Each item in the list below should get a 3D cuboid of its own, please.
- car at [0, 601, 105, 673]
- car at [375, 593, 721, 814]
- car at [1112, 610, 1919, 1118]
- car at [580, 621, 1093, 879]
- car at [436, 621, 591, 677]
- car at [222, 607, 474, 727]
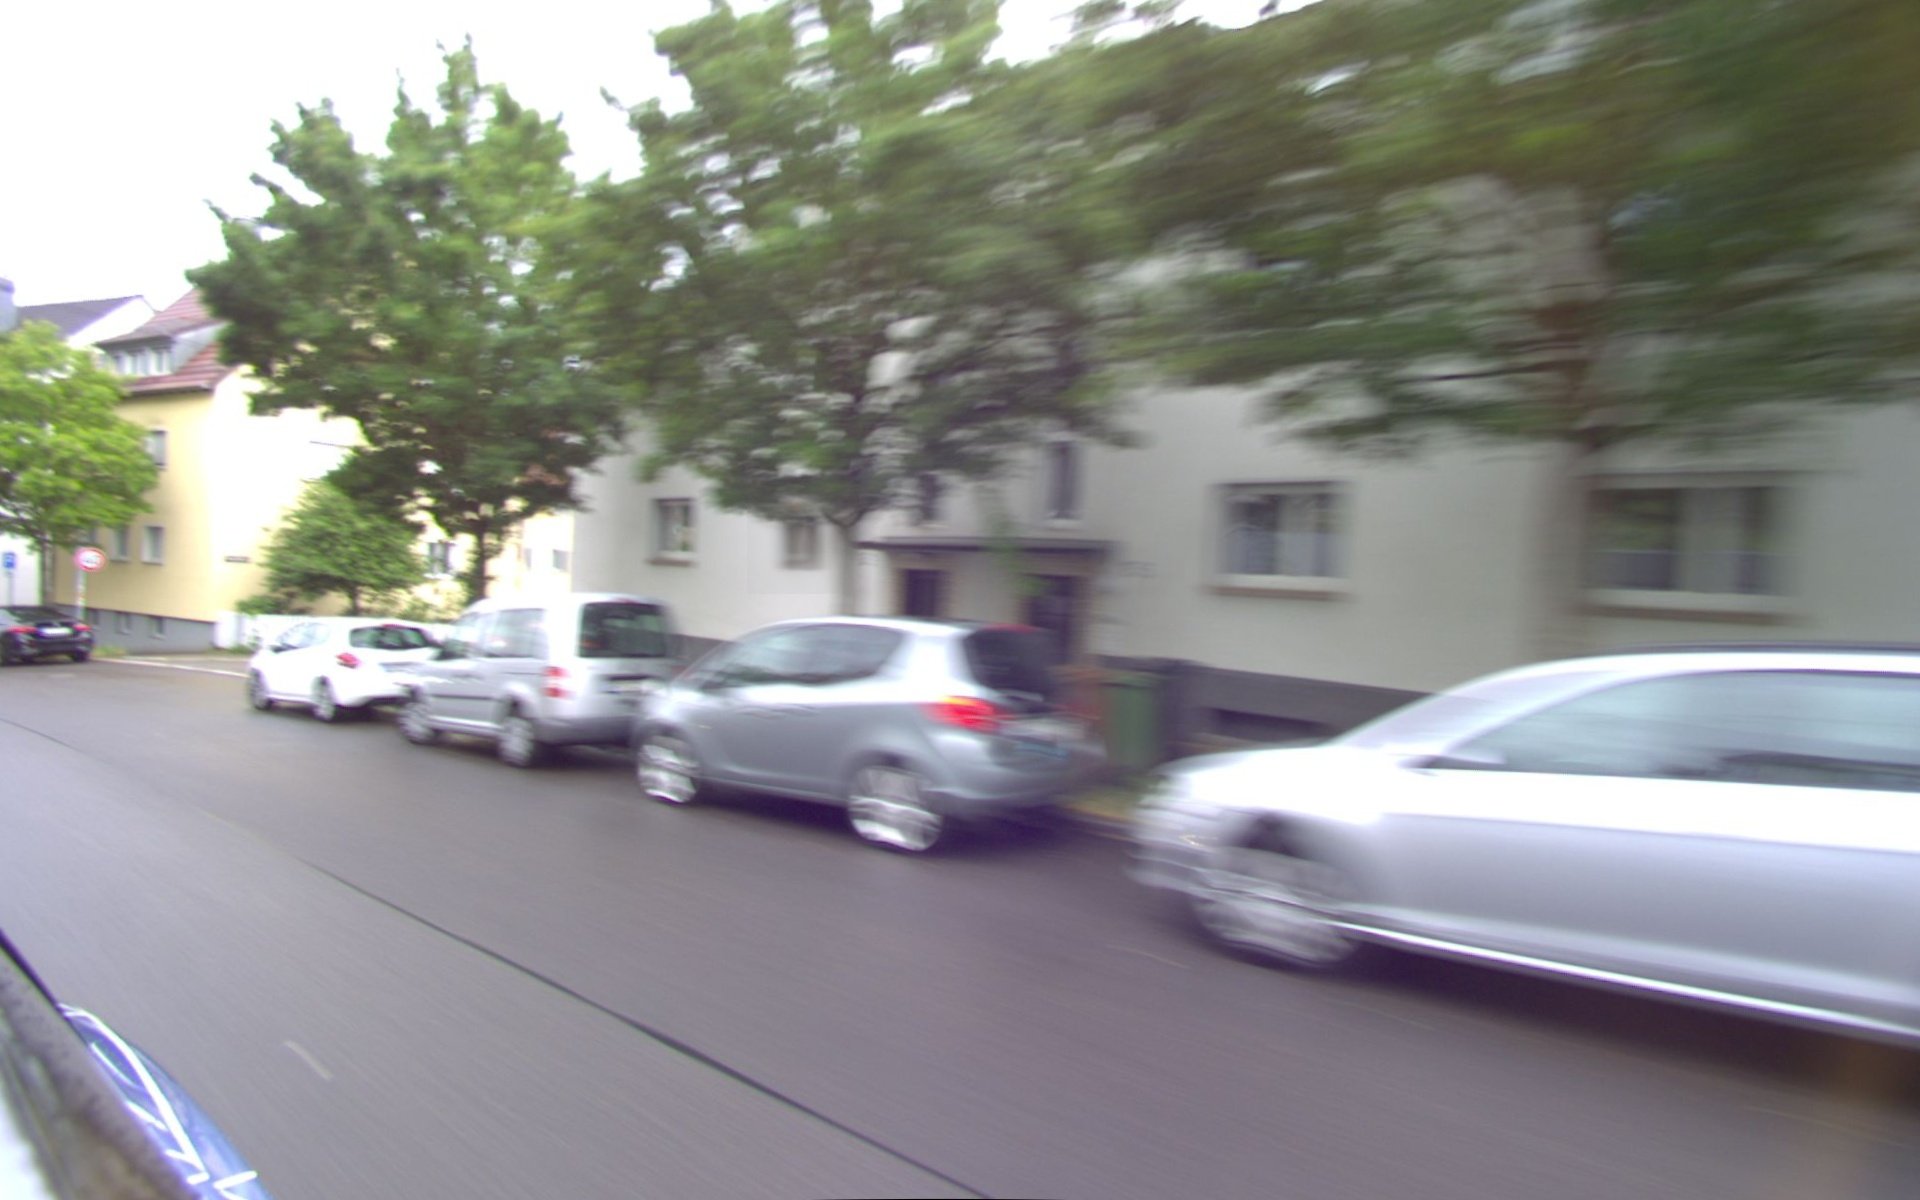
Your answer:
[{"bbox_3d":[-22.848,0.843,24.431,4.494,1.552,1.765,0,1,27],"label":"car"},{"bbox_3d":[-4.905,0.957,11.731,4.546,2.016,1.894,1,1,41],"label":"car"},{"bbox_3d":[3.045,0.823,3.946,4.594,1.464,1.786,0,-3,41],"label":"car"},{"bbox_3d":[-1.192,1.000,8.388,4.233,1.497,1.786,1,-2,40],"label":"car"},{"bbox_3d":[-13.780,1.561,31.454,1.990,1.455,3.963,1,-5,27],"label":"car"},{"bbox_3d":[-9.563,0.962,15.706,4.338,1.526,1.768,1,-2,36],"label":"car"}]
